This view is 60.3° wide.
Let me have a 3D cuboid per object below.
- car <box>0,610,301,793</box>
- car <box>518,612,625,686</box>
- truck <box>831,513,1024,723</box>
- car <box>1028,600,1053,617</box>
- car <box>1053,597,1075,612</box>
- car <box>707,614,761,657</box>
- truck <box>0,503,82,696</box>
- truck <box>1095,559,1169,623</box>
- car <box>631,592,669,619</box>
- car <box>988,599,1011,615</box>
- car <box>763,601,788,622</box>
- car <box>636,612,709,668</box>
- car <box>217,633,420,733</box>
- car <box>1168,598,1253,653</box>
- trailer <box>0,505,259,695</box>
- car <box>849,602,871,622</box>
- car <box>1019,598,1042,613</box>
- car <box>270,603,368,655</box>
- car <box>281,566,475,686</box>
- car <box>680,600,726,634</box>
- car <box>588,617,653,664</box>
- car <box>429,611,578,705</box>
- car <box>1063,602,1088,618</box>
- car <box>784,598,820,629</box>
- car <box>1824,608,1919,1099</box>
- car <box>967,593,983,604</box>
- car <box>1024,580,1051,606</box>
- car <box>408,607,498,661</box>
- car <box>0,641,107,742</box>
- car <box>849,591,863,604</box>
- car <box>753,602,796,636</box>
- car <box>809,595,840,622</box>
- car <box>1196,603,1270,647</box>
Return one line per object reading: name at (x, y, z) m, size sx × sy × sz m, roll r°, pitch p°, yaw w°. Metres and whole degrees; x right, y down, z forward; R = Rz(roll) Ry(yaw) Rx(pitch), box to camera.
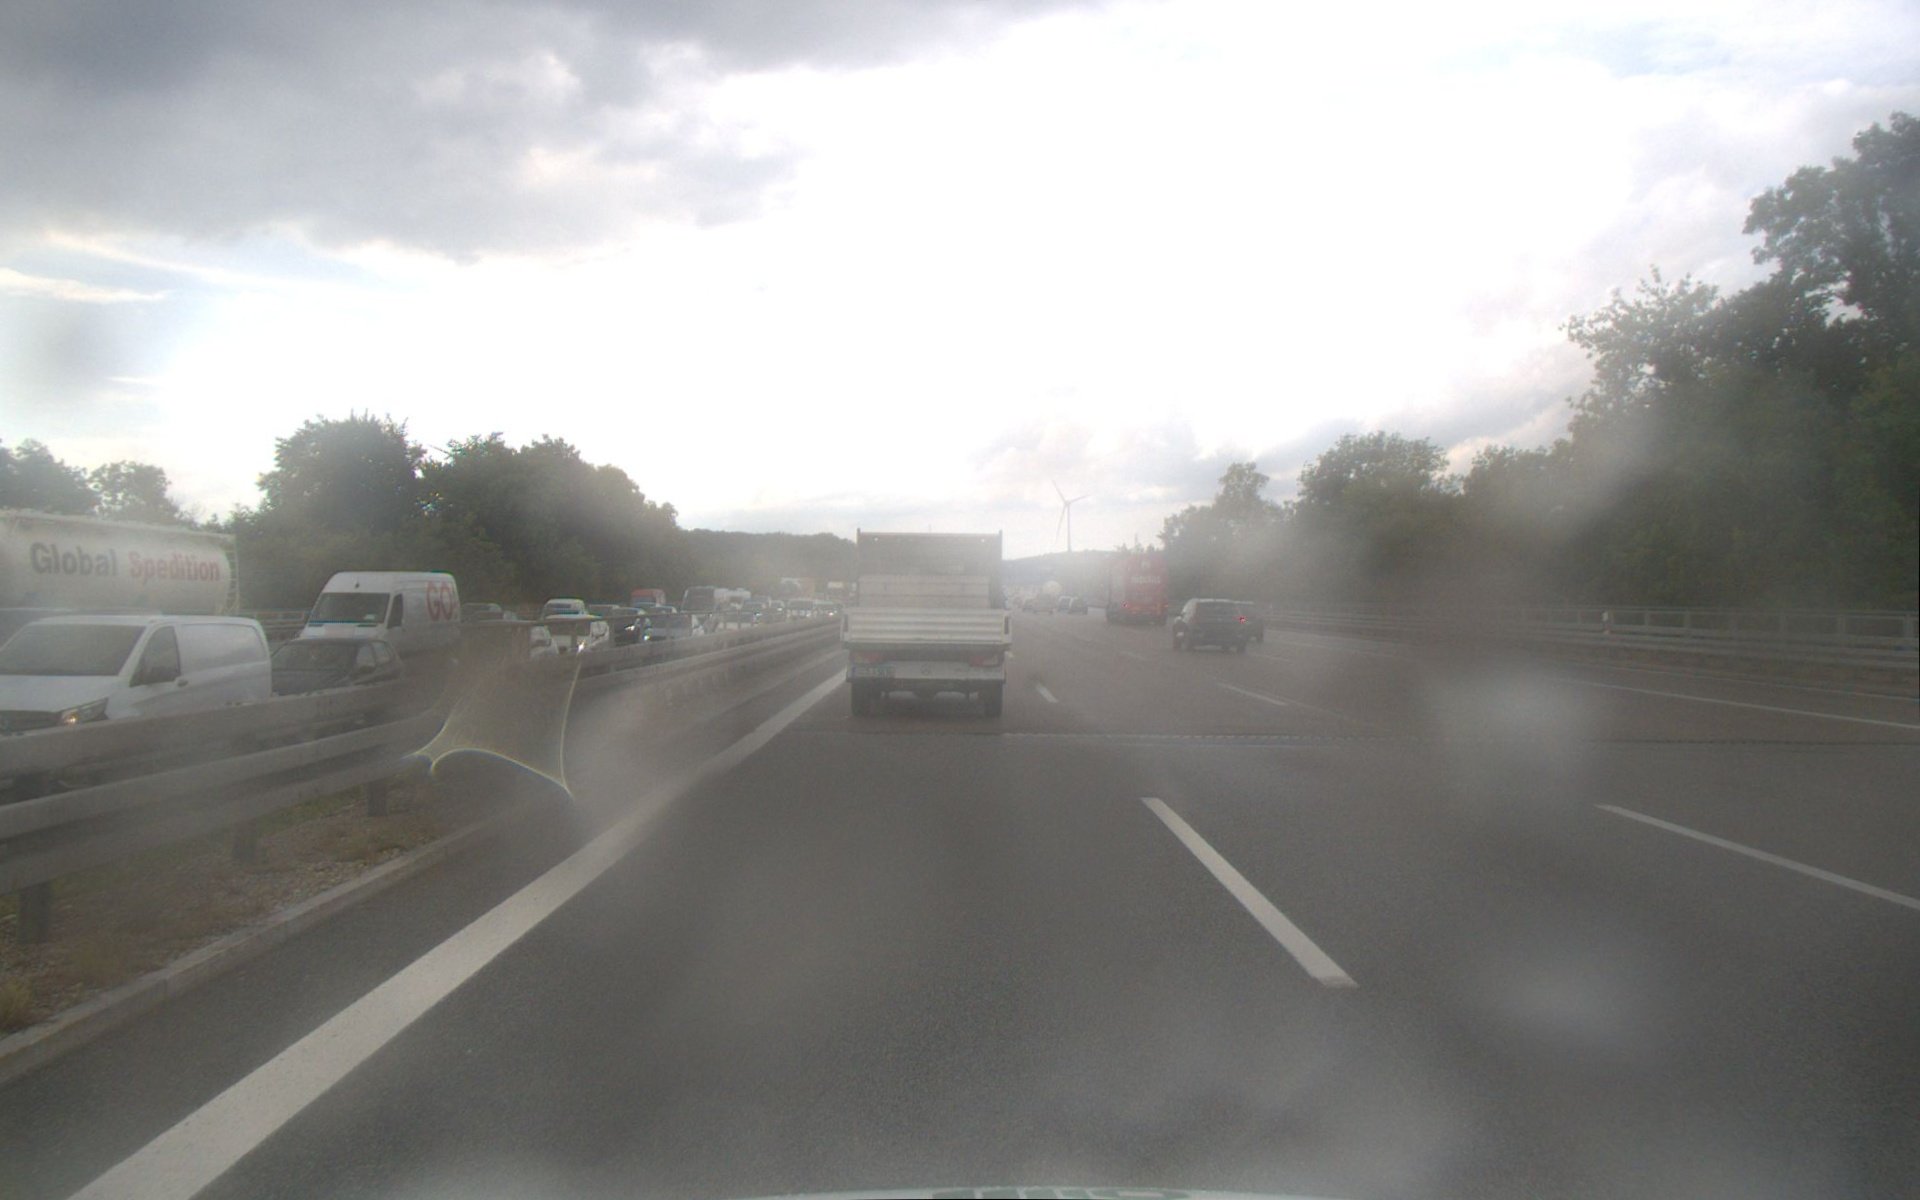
car at (-9.942, 1.059, 19.862) m, size 1.855 × 1.832 × 5.840 m, roll -1°, pitch 0°, yaw -2°
car at (-10.259, 1.249, 43.977) m, size 1.855 × 1.832 × 4.594 m, roll -1°, pitch 0°, yaw -2°
truck at (-0.429, 0.176, 23.160) m, size 2.260 × 2.482 × 7.147 m, roll 0°, pitch 1°, yaw -1°
car at (7.635, 0.778, 157.231) m, size 1.929 × 1.588 × 4.429 m, roll -1°, pitch 0°, yaw -4°
car at (11.587, 0.526, 184.122) m, size 1.929 × 1.588 × 4.429 m, roll -1°, pitch 0°, yaw -4°
car at (-10.282, 1.600, 75.446) m, size 1.855 × 1.832 × 4.595 m, roll -1°, pitch 0°, yaw -1°
truck at (-21.944, -0.002, 35.262) m, size 2.962 × 4.123 × 6.533 m, roll -1°, pitch 0°, yaw 0°
truck at (10.423, -0.615, 101.413) m, size 3.088 × 3.664 × 12.699 m, roll 1°, pitch 1°, yaw 0°
car at (-21.767, 0.361, 116.176) m, size 1.855 × 1.832 × 4.595 m, roll -1°, pitch 0°, yaw -1°
car at (4.027, 0.747, 169.272) m, size 1.929 × 1.588 × 4.429 m, roll -1°, pitch 0°, yaw -4°
car at (-17.076, 1.052, 153.460) m, size 1.855 × 1.832 × 4.595 m, roll -1°, pitch 0°, yaw -1°
car at (-10.162, 1.383, 58.753) m, size 1.855 × 1.832 × 4.595 m, roll -1°, pitch 0°, yaw -1°
car at (-9.839, 1.218, 25.708) m, size 1.589 × 1.320 × 4.249 m, roll -1°, pitch 0°, yaw -2°
car at (7.485, 0.725, 49.741) m, size 1.844 × 1.569 × 4.432 m, roll -1°, pitch 0°, yaw -1°
trailer at (-22.068, 0.002, 42.275) m, size 2.947 × 4.103 × 13.135 m, roll -1°, pitch 0°, yaw -1°
car at (-9.480, 1.122, 156.692) m, size 1.855 × 1.832 × 4.595 m, roll -1°, pitch 0°, yaw -1°
car at (7.669, 0.637, 179.274) m, size 1.929 × 1.588 × 4.428 m, roll -1°, pitch 0°, yaw -5°
car at (-23.426, 1.026, 60.621) m, size 1.855 × 1.832 × 4.595 m, roll -1°, pitch 0°, yaw -1°
car at (-14.242, 0.591, 41.124) m, size 2.083 × 2.682 × 7.609 m, roll -1°, pitch 0°, yaw 0°
car at (-14.089, 0.900, 90.869) m, size 1.855 × 1.832 × 4.595 m, roll -1°, pitch 0°, yaw -1°
car at (-14.352, 1.690, 70.101) m, size 1.855 × 1.832 × 4.595 m, roll -1°, pitch 0°, yaw -1°
car at (-9.849, 1.194, 36.158) m, size 1.855 × 1.832 × 5.568 m, roll -1°, pitch 0°, yaw -2°
car at (11.265, 0.960, 161.453) m, size 1.929 × 1.588 × 4.429 m, roll -1°, pitch 0°, yaw -4°
car at (-9.897, 0.821, 103.616) m, size 1.855 × 1.832 × 4.595 m, roll -1°, pitch 0°, yaw -1°
car at (3.694, 0.751, 3.272) m, size 1.682 × 1.442 × 4.277 m, roll 2°, pitch -1°, yaw -1°
car at (2.066, -0.210, 232.561) m, size 1.929 × 1.588 × 4.430 m, roll -1°, pitch 0°, yaw -4°
car at (6.280, -0.560, 134.907) m, size 1.953 × 2.049 × 4.000 m, roll 1°, pitch 1°, yaw -1°
car at (-18.367, 1.203, 60.117) m, size 1.855 × 1.832 × 4.595 m, roll -1°, pitch 0°, yaw -1°
car at (-14.162, 1.319, 23.885) m, size 1.589 × 1.320 × 4.249 m, roll -1°, pitch 0°, yaw -2°
car at (-15.083, -0.304, 239.679) m, size 1.855 × 1.832 × 4.595 m, roll -1°, pitch 0°, yaw -1°
car at (-10.094, 1.015, 90.377) m, size 1.855 × 1.832 × 4.595 m, roll -1°, pitch 0°, yaw -1°
car at (-9.620, 0.597, 117.901) m, size 1.855 × 1.832 × 4.595 m, roll -1°, pitch 0°, yaw -1°
car at (10.360, 0.919, 62.991) m, size 1.845 × 1.588 × 4.430 m, roll -1°, pitch 0°, yaw -4°
